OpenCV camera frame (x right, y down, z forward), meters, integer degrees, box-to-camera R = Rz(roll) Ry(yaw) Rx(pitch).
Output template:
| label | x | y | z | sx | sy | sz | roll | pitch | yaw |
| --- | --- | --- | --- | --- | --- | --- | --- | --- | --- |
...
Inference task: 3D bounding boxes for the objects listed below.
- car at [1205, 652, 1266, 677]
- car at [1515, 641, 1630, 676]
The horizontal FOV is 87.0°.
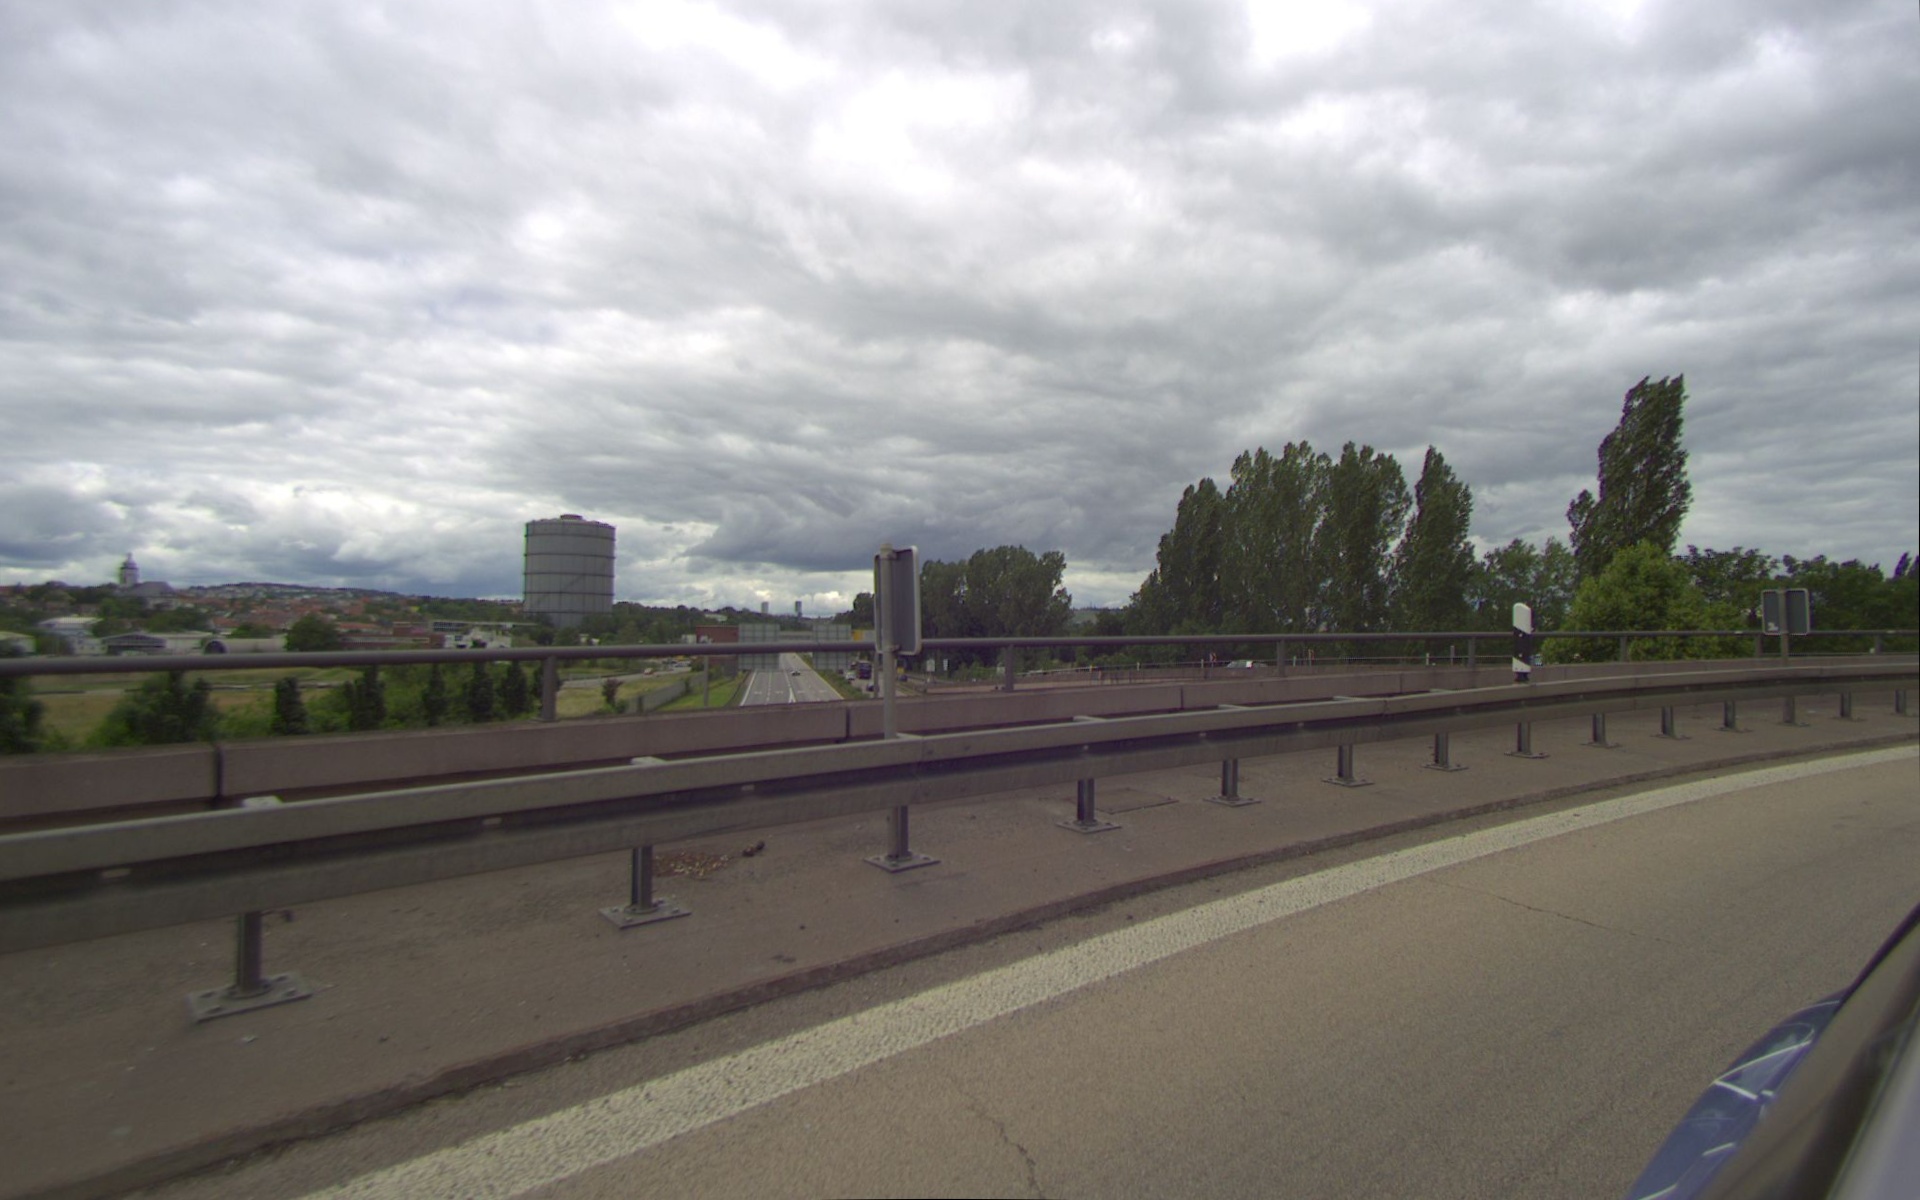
| label | x | y | z | sx | sy | sz | roll | pitch | yaw |
| --- | --- | --- | --- | --- | --- | --- | --- | --- | --- |
| car | 17.179 | 4.056 | 63.298 | 1.700 | 1.500 | 4.005 | 2 | -5 | -19 |
| car | 26.995 | 2.617 | 44.722 | 1.754 | 1.428 | 3.936 | 4 | -6 | -31 |
